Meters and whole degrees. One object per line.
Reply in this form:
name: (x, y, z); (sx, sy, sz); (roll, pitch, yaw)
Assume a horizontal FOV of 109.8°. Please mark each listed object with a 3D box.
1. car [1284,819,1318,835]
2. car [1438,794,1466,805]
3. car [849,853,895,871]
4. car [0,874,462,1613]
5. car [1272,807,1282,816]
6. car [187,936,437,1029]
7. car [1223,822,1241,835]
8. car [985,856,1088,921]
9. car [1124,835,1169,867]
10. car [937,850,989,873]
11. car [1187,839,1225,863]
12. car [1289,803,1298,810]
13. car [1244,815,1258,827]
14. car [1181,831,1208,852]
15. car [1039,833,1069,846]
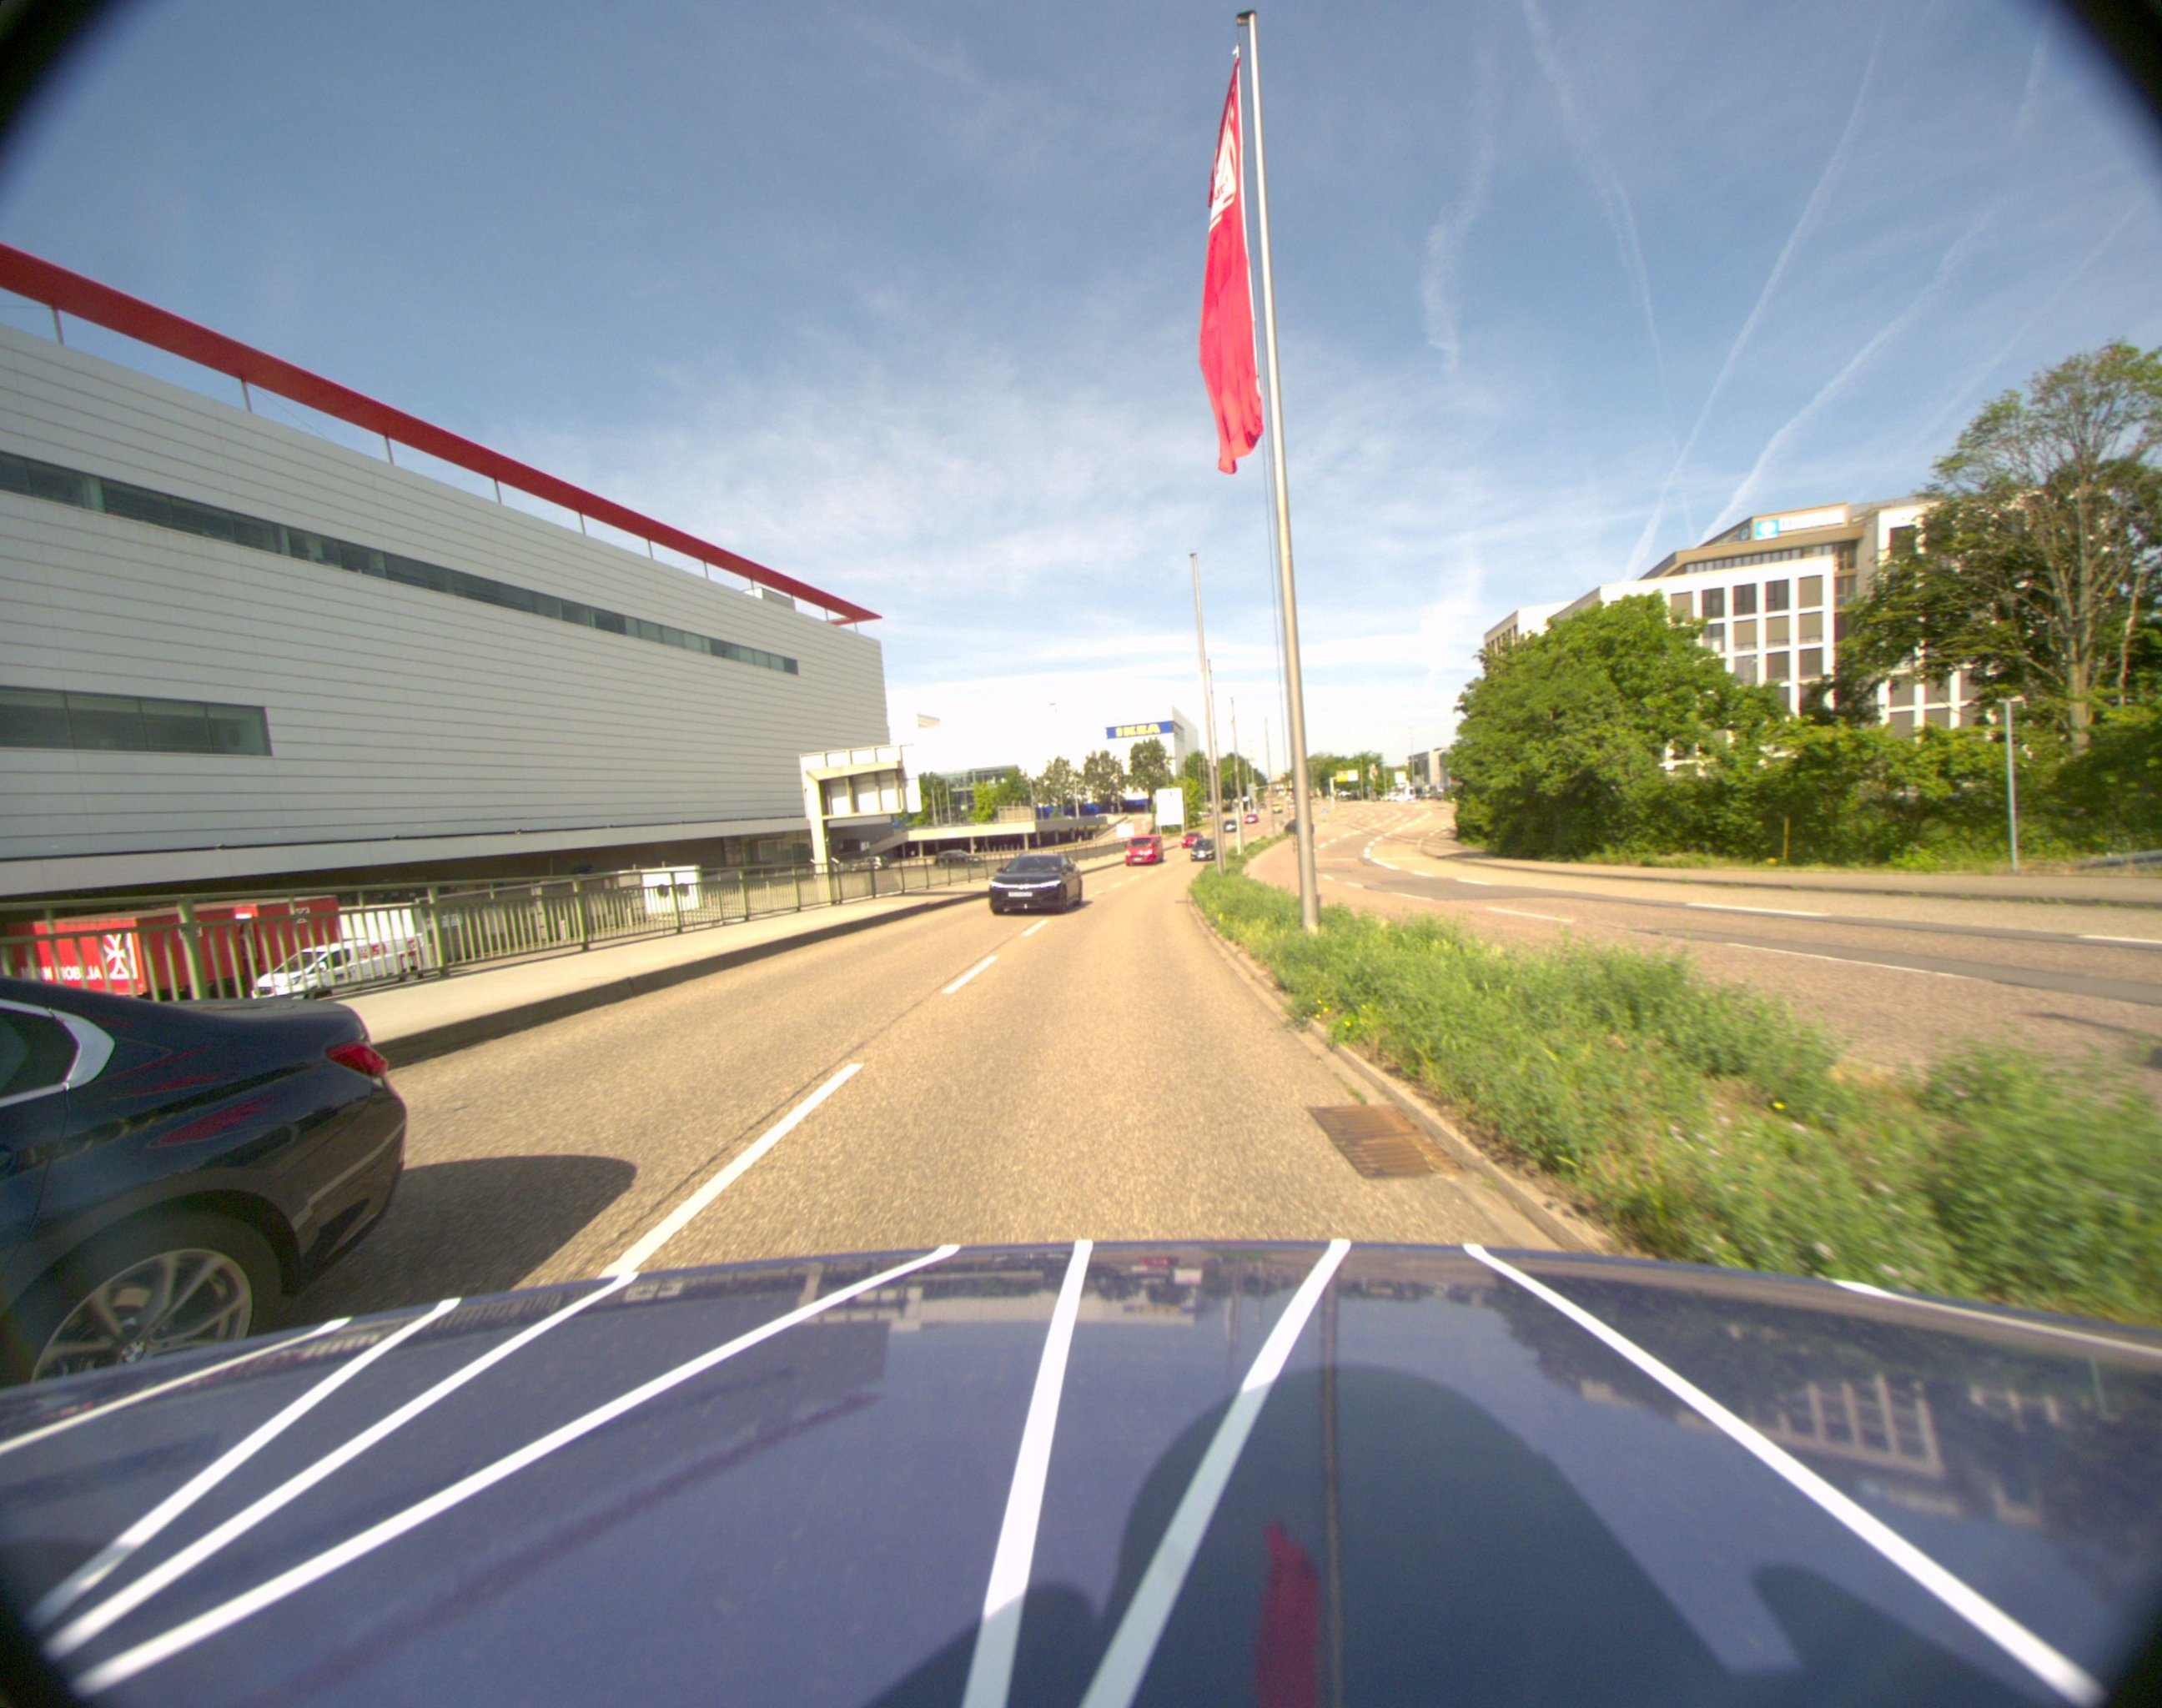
car: (22.769, -2.793, 78.697); (1.862, 1.521, 4.139); (-4, 3, -6)
car: (69.072, -10.181, 141.569); (4.383, 1.838, 1.814); (-1, 5, 37)
car: (-20.836, 0.788, 75.752); (3.862, 1.368, 1.812); (-5, 2, 15)
car: (-3.258, 1.010, 0.503); (1.792, 1.476, 4.517); (-4, 4, 1)
car: (38.294, -8.319, 148.552); (1.823, 1.467, 4.002); (-3, 4, 16)
car: (-27.898, 4.555, 27.982); (2.128, 1.994, 6.015); (-2, 4, 16)
car: (19.266, -3.278, 96.875); (1.823, 1.467, 4.002); (-3, 4, 16)
car: (-1.072, 0.850, 20.414); (1.859, 1.520, 4.147); (-2, -1, 9)
car: (4.545, -0.232, 52.149); (1.985, 1.897, 4.147); (-1, 3, 20)
car: (-10.959, 0.717, 70.597); (4.407, 1.723, 1.864); (-3, 4, 25)
car: (8.866, -0.217, 53.738); (1.847, 1.410, 4.004); (-2, 3, 21)
car: (47.724, -10.656, 170.339); (1.823, 1.467, 4.002); (-3, 4, 16)
car: (26.087, -5.079, 116.523); (1.823, 1.467, 4.002); (-3, 4, 16)
car: (10.679, -1.188, 71.527); (1.775, 1.649, 4.147); (-3, 3, 18)
car: (-4.220, -2.329, 119.501); (4.312, 1.824, 2.001); (-3, 2, 10)
